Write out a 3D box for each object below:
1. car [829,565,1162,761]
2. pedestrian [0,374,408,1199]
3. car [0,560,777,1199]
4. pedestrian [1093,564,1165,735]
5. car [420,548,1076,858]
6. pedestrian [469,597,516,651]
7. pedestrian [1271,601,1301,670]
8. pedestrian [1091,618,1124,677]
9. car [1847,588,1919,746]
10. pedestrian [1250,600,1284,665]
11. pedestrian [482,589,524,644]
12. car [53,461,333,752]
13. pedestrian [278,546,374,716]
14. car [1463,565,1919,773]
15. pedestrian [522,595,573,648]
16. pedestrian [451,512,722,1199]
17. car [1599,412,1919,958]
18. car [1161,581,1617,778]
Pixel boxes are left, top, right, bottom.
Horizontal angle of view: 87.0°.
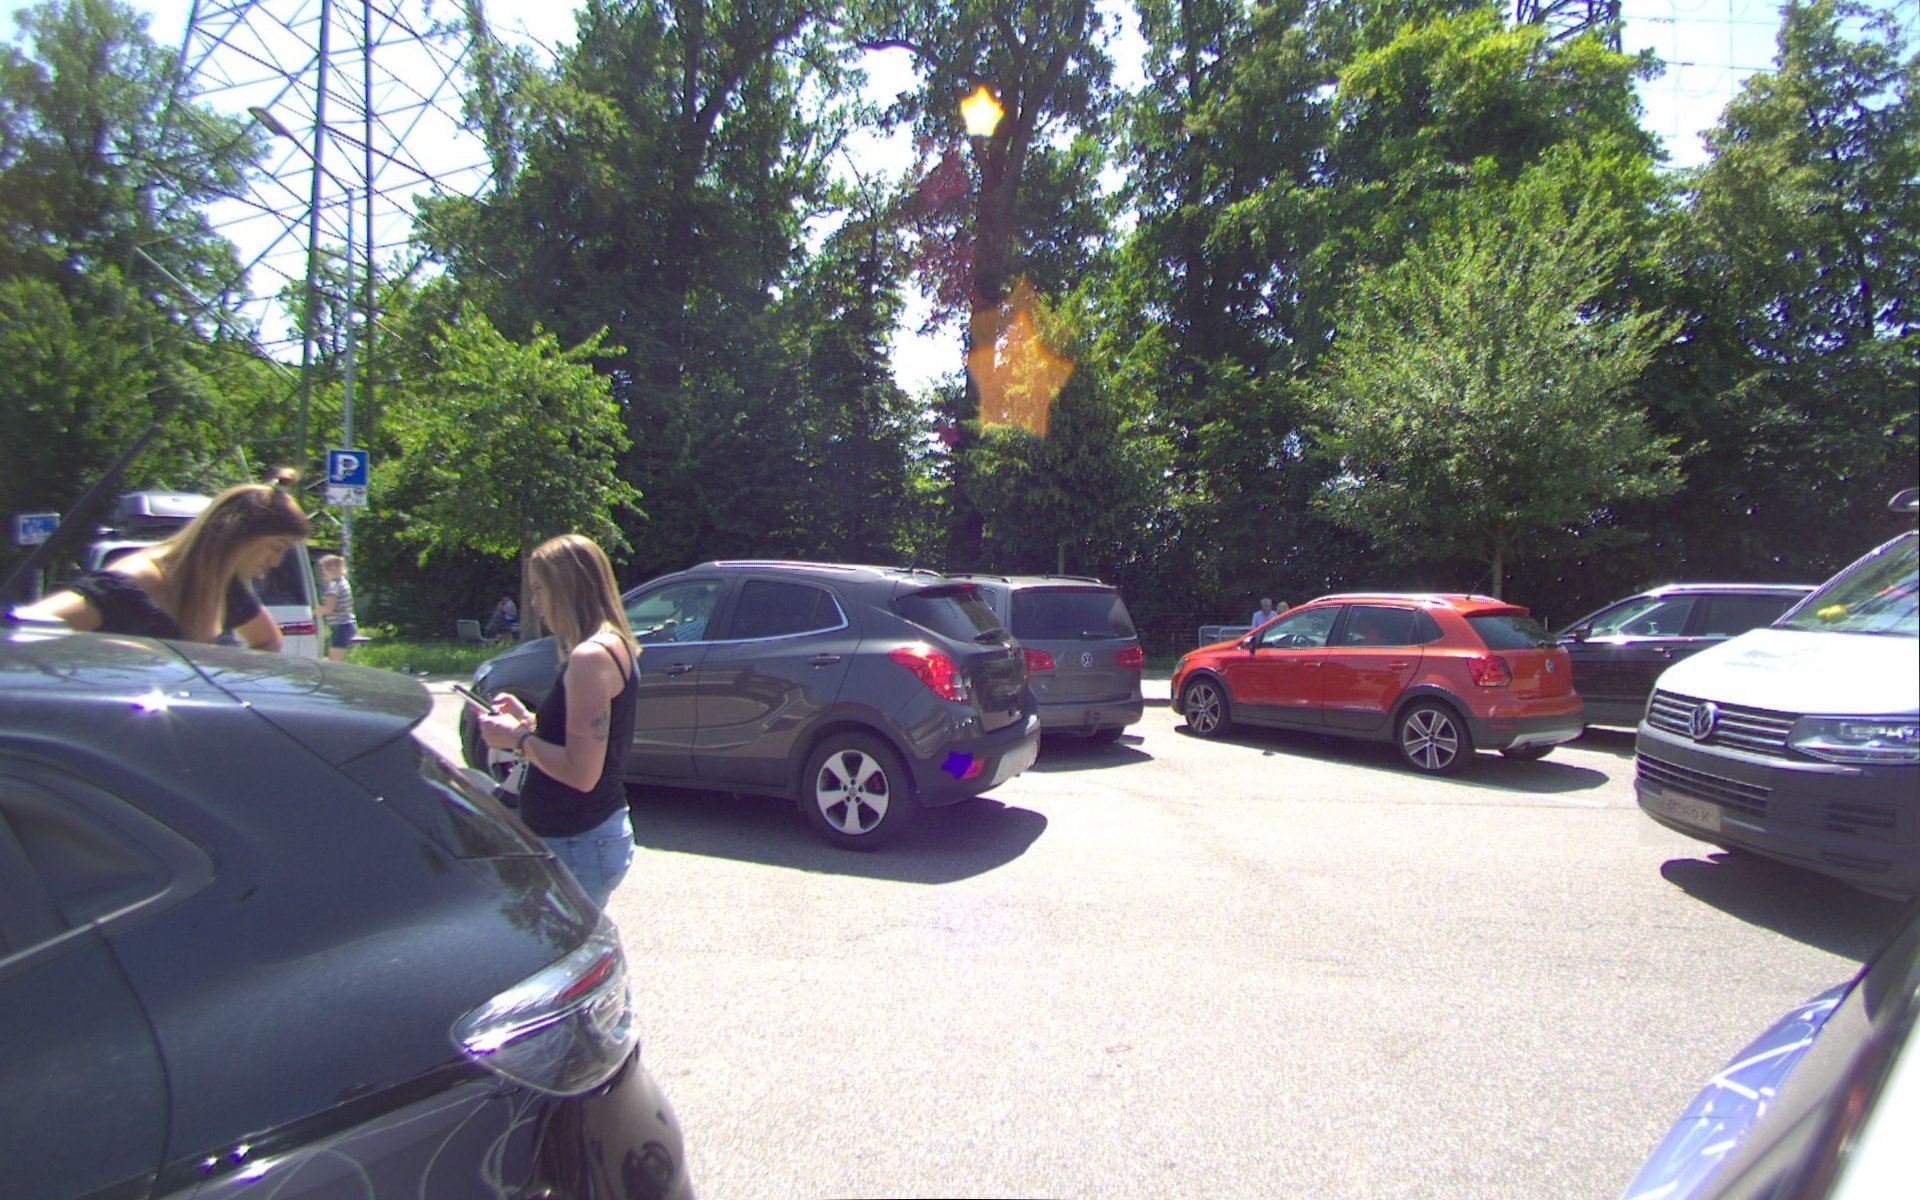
[{"bbox_3d":[0.163,0.516,10.609,1.670,1.637,3.912,0,0,-30],"label":"car"},{"bbox_3d":[-1.816,0.494,2.468,0.477,1.883,0.913,1,-1,-5],"label":"pedestrian"},{"bbox_3d":[-2.138,0.714,0.694,1.777,1.476,3.627,0,0,45],"label":"car"},{"bbox_3d":[1.772,0.499,10.670,0.576,1.744,0.483,0,0,-20],"label":"pedestrian"},{"bbox_3d":[-1.432,0.525,6.982,4.118,1.637,1.825,1,0,22],"label":"car"},{"bbox_3d":[-10.478,0.519,22.675,0.785,1.178,0.696,0,0,39],"label":"pedestrian"},{"bbox_3d":[5.741,0.617,17.844,0.348,1.207,0.367,0,0,-20],"label":"pedestrian"},{"bbox_3d":[2.296,0.732,15.738,0.494,0.890,0.512,0,-1,10],"label":"pedestrian"},{"bbox_3d":[10.447,0.642,8.845,1.813,1.473,3.776,1,0,-36],"label":"car"},{"bbox_3d":[5.783,0.607,19.072,0.433,1.207,0.414,0,0,-30],"label":"pedestrian"},{"bbox_3d":[-11.079,0.394,24.531,0.539,1.318,0.758,0,0,37],"label":"pedestrian"},{"bbox_3d":[-8.378,0.044,10.846,1.897,2.400,4.963,1,-1,-43],"label":"car"},{"bbox_3d":[-7.488,0.344,11.952,0.826,1.903,0.775,0,0,-43],"label":"pedestrian"},{"bbox_3d":[7.182,0.543,9.738,1.679,1.637,3.863,1,0,-40],"label":"car"},{"bbox_3d":[-9.628,0.483,23.637,0.810,1.201,0.836,0,0,40],"label":"pedestrian"},{"bbox_3d":[-0.963,0.610,2.607,0.477,1.614,0.502,1,-1,-44],"label":"pedestrian"},{"bbox_3d":[6.284,0.351,4.679,5.336,2.131,1.842,1,1,4],"label":"car"},{"bbox_3d":[3.846,0.603,9.653,1.588,1.485,3.751,1,0,-34],"label":"car"}]
